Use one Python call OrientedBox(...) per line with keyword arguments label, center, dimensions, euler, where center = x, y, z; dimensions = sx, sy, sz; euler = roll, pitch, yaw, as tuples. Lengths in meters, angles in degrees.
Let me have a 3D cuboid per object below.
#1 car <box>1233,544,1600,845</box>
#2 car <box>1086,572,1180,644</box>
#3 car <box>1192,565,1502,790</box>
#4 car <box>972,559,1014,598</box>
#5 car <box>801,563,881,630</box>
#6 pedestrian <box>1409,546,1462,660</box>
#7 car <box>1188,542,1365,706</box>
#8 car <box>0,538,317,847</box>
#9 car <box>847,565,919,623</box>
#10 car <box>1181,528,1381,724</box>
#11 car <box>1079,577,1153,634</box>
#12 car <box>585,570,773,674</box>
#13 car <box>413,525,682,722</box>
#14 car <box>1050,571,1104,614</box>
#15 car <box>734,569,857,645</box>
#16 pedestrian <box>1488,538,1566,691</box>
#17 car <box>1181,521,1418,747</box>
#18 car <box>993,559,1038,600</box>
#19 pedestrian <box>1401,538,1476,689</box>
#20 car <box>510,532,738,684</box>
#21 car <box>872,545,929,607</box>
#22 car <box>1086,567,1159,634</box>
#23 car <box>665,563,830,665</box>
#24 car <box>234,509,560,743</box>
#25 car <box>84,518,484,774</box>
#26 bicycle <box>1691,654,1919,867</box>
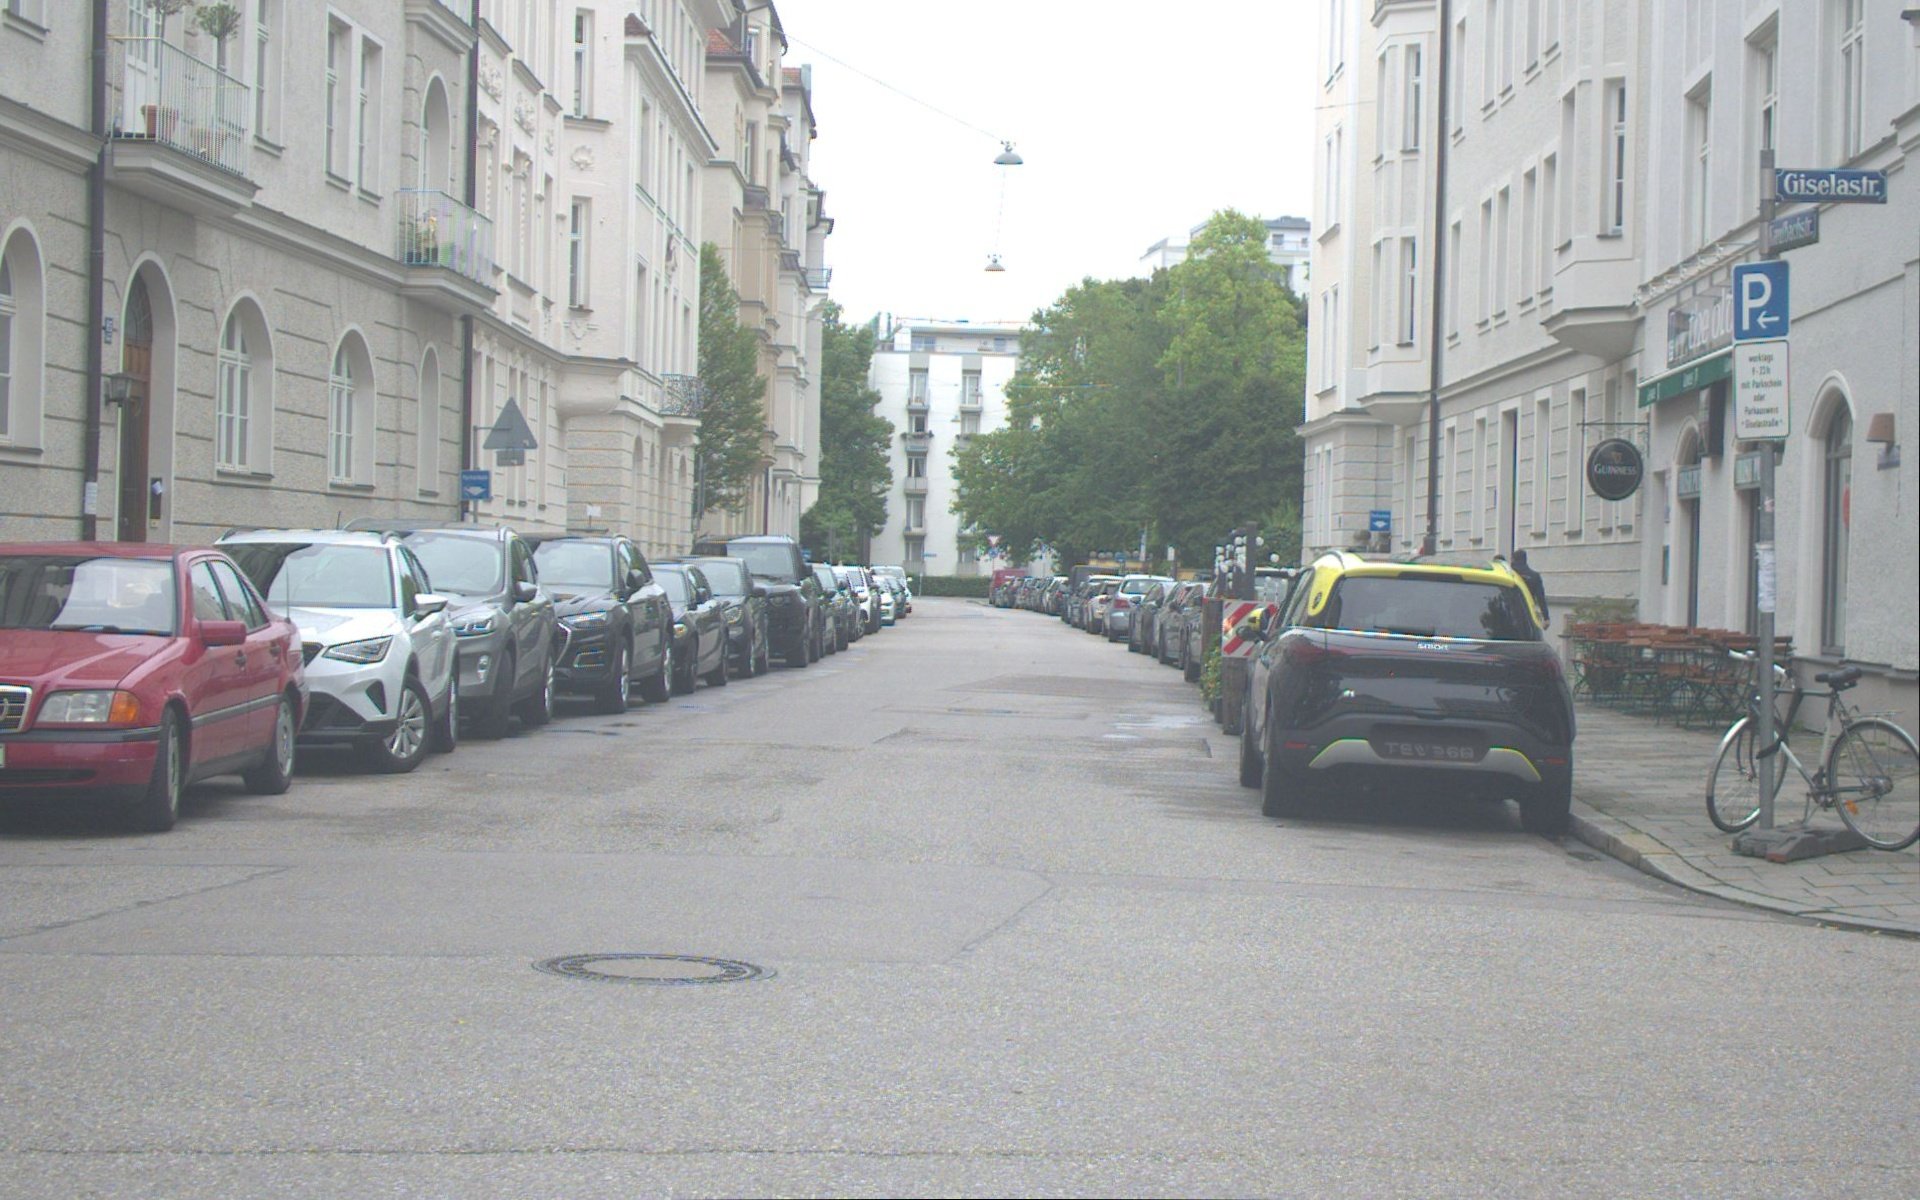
OrientedBox(label="car", center=(2.819, 0.526, 22.117), dimensions=(1.820, 1.630, 4.288), euler=(4, 1, 2))
OrientedBox(label="car", center=(4.011, 0.162, 80.219), dimensions=(1.906, 1.571, 4.000), euler=(2, 1, 0))
OrientedBox(label="car", center=(2.940, 0.532, 27.058), dimensions=(1.976, 1.493, 4.637), euler=(4, 1, 2))
OrientedBox(label="car", center=(1.786, -1.171, 186.532), dimensions=(1.993, 1.975, 4.893), euler=(2, 1, -2))
OrientedBox(label="car", center=(-2.699, -0.095, 78.580), dimensions=(1.733, 1.415, 4.000), euler=(2, 1, -1))
OrientedBox(label="pedestrian", center=(7.845, 0.039, 56.723), dimensions=(0.778, 1.845, 0.859), euler=(2, 1, 10))
OrientedBox(label="car", center=(3.851, 0.256, 42.456), dimensions=(1.994, 1.850, 4.344), euler=(2, 1, 4))
OrientedBox(label="car", center=(-4.596, 0.383, 17.725), dimensions=(1.730, 1.373, 4.227), euler=(2, 1, 0))
OrientedBox(label="car", center=(-2.223, -0.198, 99.632), dimensions=(1.993, 1.568, 4.000), euler=(2, 1, -1))
OrientedBox(label="car", center=(3.462, 0.248, 37.746), dimensions=(1.820, 1.917, 4.183), euler=(4, 1, 2))
OrientedBox(label="car", center=(4.108, 0.126, 90.949), dimensions=(1.730, 1.413, 3.852), euler=(2, 1, 0))
OrientedBox(label="car", center=(-3.586, 0.253, 44.566), dimensions=(1.906, 1.218, 4.000), euler=(2, 1, 3))
OrientedBox(label="car", center=(-3.796, 0.177, 32.343), dimensions=(1.993, 1.670, 4.289), euler=(2, 1, 0))
OrientedBox(label="car", center=(4.624, -0.299, 136.203), dimensions=(1.950, 1.646, 4.000), euler=(0, 1, 0))
OrientedBox(label="car", center=(-2.882, 0.104, 61.042), dimensions=(1.906, 1.218, 4.000), euler=(2, 1, 1))
OrientedBox(label="pedestrian", center=(6.992, 0.168, 42.429), dimensions=(0.778, 1.845, 1.023), euler=(2, 1, 3))
OrientedBox(label="car", center=(3.119, 0.272, 32.312), dimensions=(1.820, 1.864, 4.288), euler=(4, 1, 2))
OrientedBox(label="car", center=(2.807, -1.038, 175.604), dimensions=(1.993, 1.975, 4.893), euler=(2, 1, -2))
OrientedBox(label="pedestrian", center=(5.977, 0.156, 42.975), dimensions=(0.778, 1.845, 1.023), euler=(2, 1, 3))
OrientedBox(label="car", center=(-3.700, 0.055, 38.501), dimensions=(1.926, 1.541, 4.000), euler=(2, 1, 3))
OrientedBox(label="car", center=(-2.026, -0.836, 117.829), dimensions=(1.846, 2.007, 4.000), euler=(2, 1, 0))
OrientedBox(label="car", center=(5.126, -0.011, 108.996), dimensions=(1.993, 1.975, 4.893), euler=(2, 1, 0))
OrientedBox(label="car", center=(-2.995, 0.170, 49.244), dimensions=(1.906, 1.324, 4.000), euler=(2, 1, 3))
OrientedBox(label="car", center=(-4.385, 0.165, 27.374), dimensions=(1.993, 1.670, 4.013), euler=(2, 1, -2))
OrientedBox(label="car", center=(-4.311, 0.245, 22.555), dimensions=(1.993, 1.468, 4.219), euler=(2, 1, -3))
OrientedBox(label="bicycle", center=(4.637, 0.830, 18.352), dimensions=(0.539, 0.995, 1.756), euler=(-2, 2, -21))
